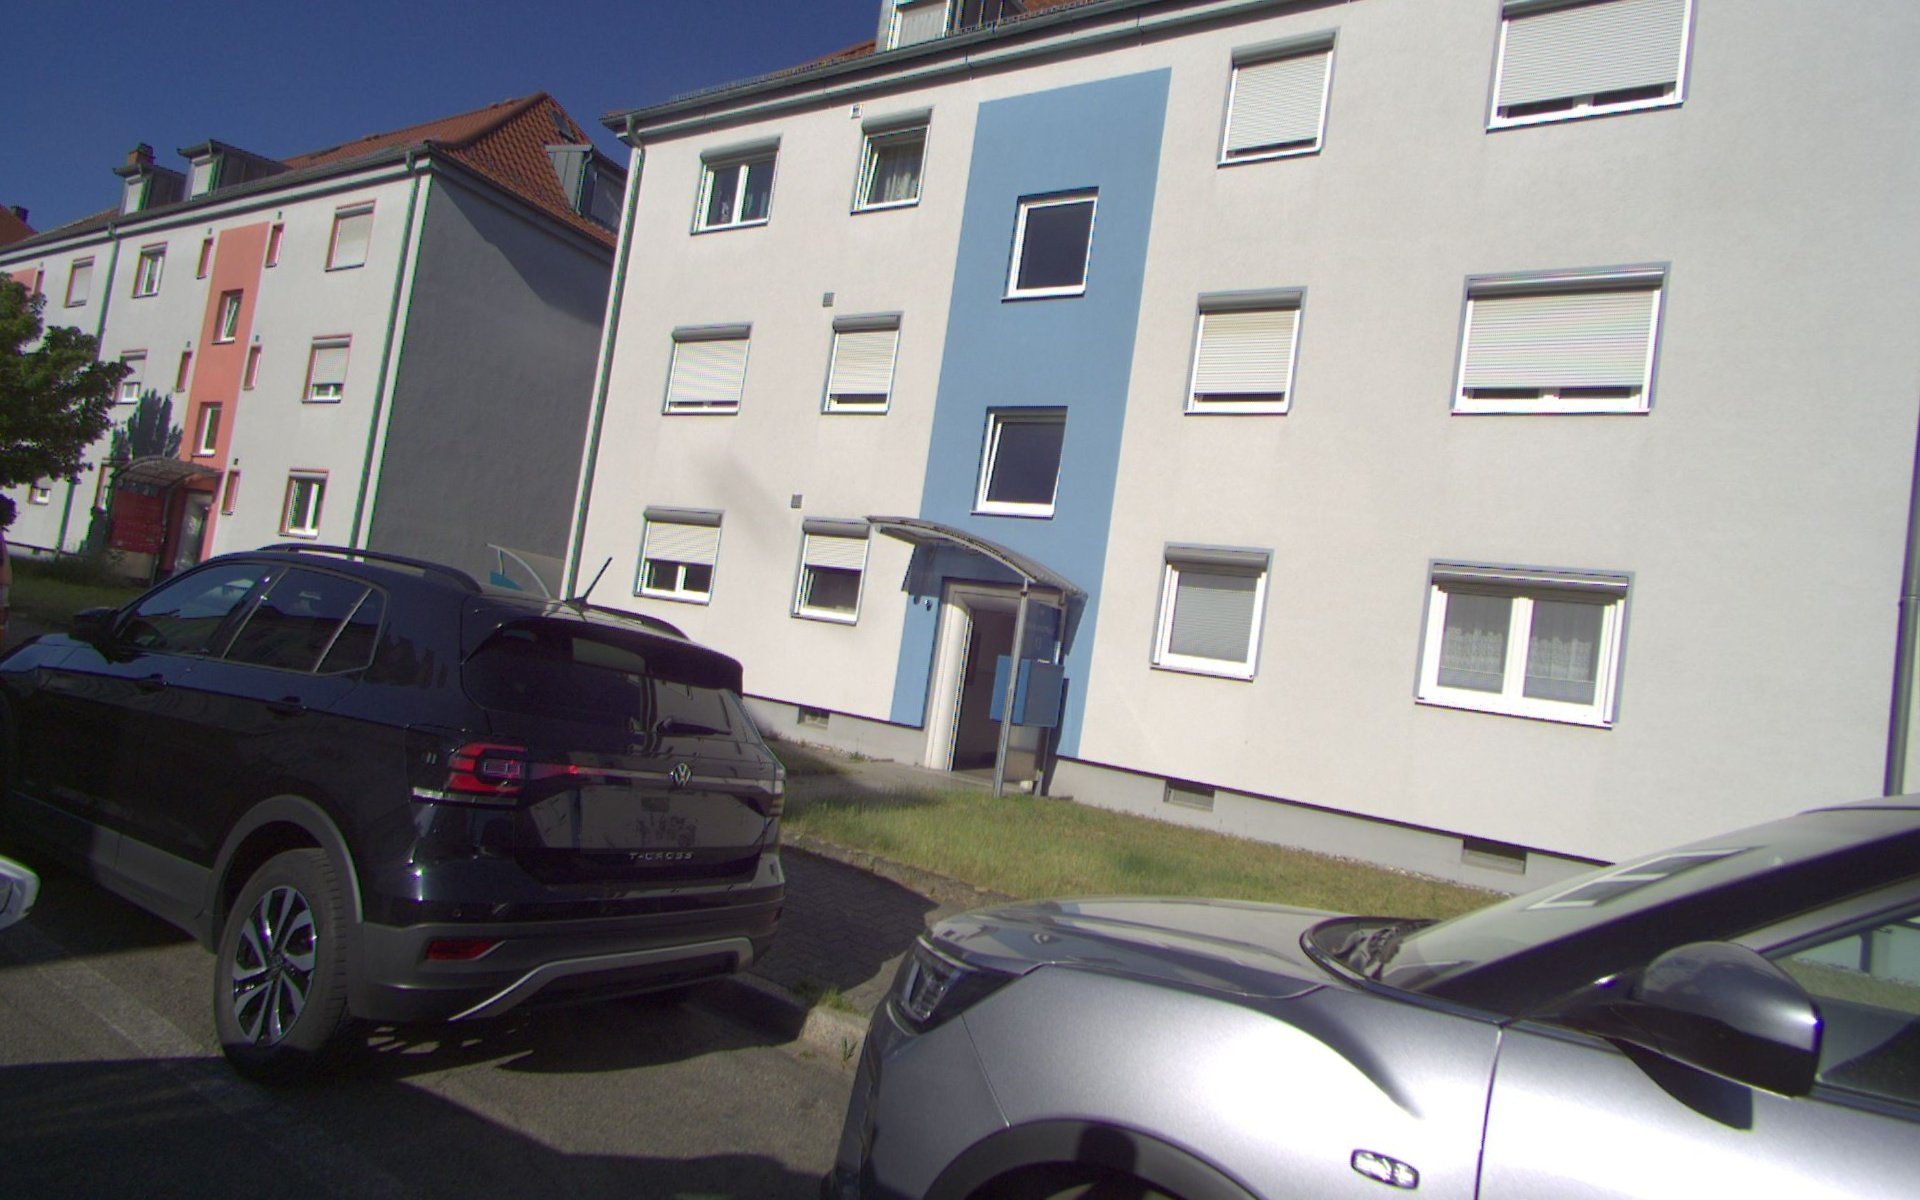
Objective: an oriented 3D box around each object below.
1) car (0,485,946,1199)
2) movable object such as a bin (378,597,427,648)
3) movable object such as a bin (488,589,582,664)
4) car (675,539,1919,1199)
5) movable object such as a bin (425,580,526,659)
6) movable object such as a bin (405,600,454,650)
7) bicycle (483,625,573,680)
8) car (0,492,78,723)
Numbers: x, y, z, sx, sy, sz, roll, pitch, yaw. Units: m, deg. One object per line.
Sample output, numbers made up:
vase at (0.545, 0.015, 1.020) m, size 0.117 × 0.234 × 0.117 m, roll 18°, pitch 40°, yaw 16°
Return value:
car at (-2.437, 0.604, 4.175) m, size 4.324 × 1.611 × 1.718 m, roll 7°, pitch -5°, yaw 31°
movable object such as a bin at (-11.202, 0.458, 20.217) m, size 0.622 × 0.896 × 0.524 m, roll 7°, pitch -3°, yaw 32°
movable object such as a bin at (-9.608, 0.611, 22.764) m, size 1.168 × 1.431 × 1.364 m, roll 7°, pitch -3°, yaw 31°
car at (1.832, 1.069, 1.632) m, size 4.375 × 1.633 × 1.758 m, roll 7°, pitch -6°, yaw 29°
movable object such as a bin at (-10.329, 0.423, 21.470) m, size 1.168 × 1.431 × 1.364 m, roll 7°, pitch -3°, yaw 31°
movable object such as a bin at (-10.907, 0.519, 20.688) m, size 0.622 × 0.896 × 0.524 m, roll 7°, pitch -3°, yaw 32°
bicycle at (-7.891, 0.944, 18.360) m, size 1.838 × 0.748 × 0.454 m, roll 7°, pitch -2°, yaw 32°
car at (-9.158, -0.239, 8.005) m, size 4.058 × 1.684 × 1.869 m, roll 7°, pitch -5°, yaw 31°
